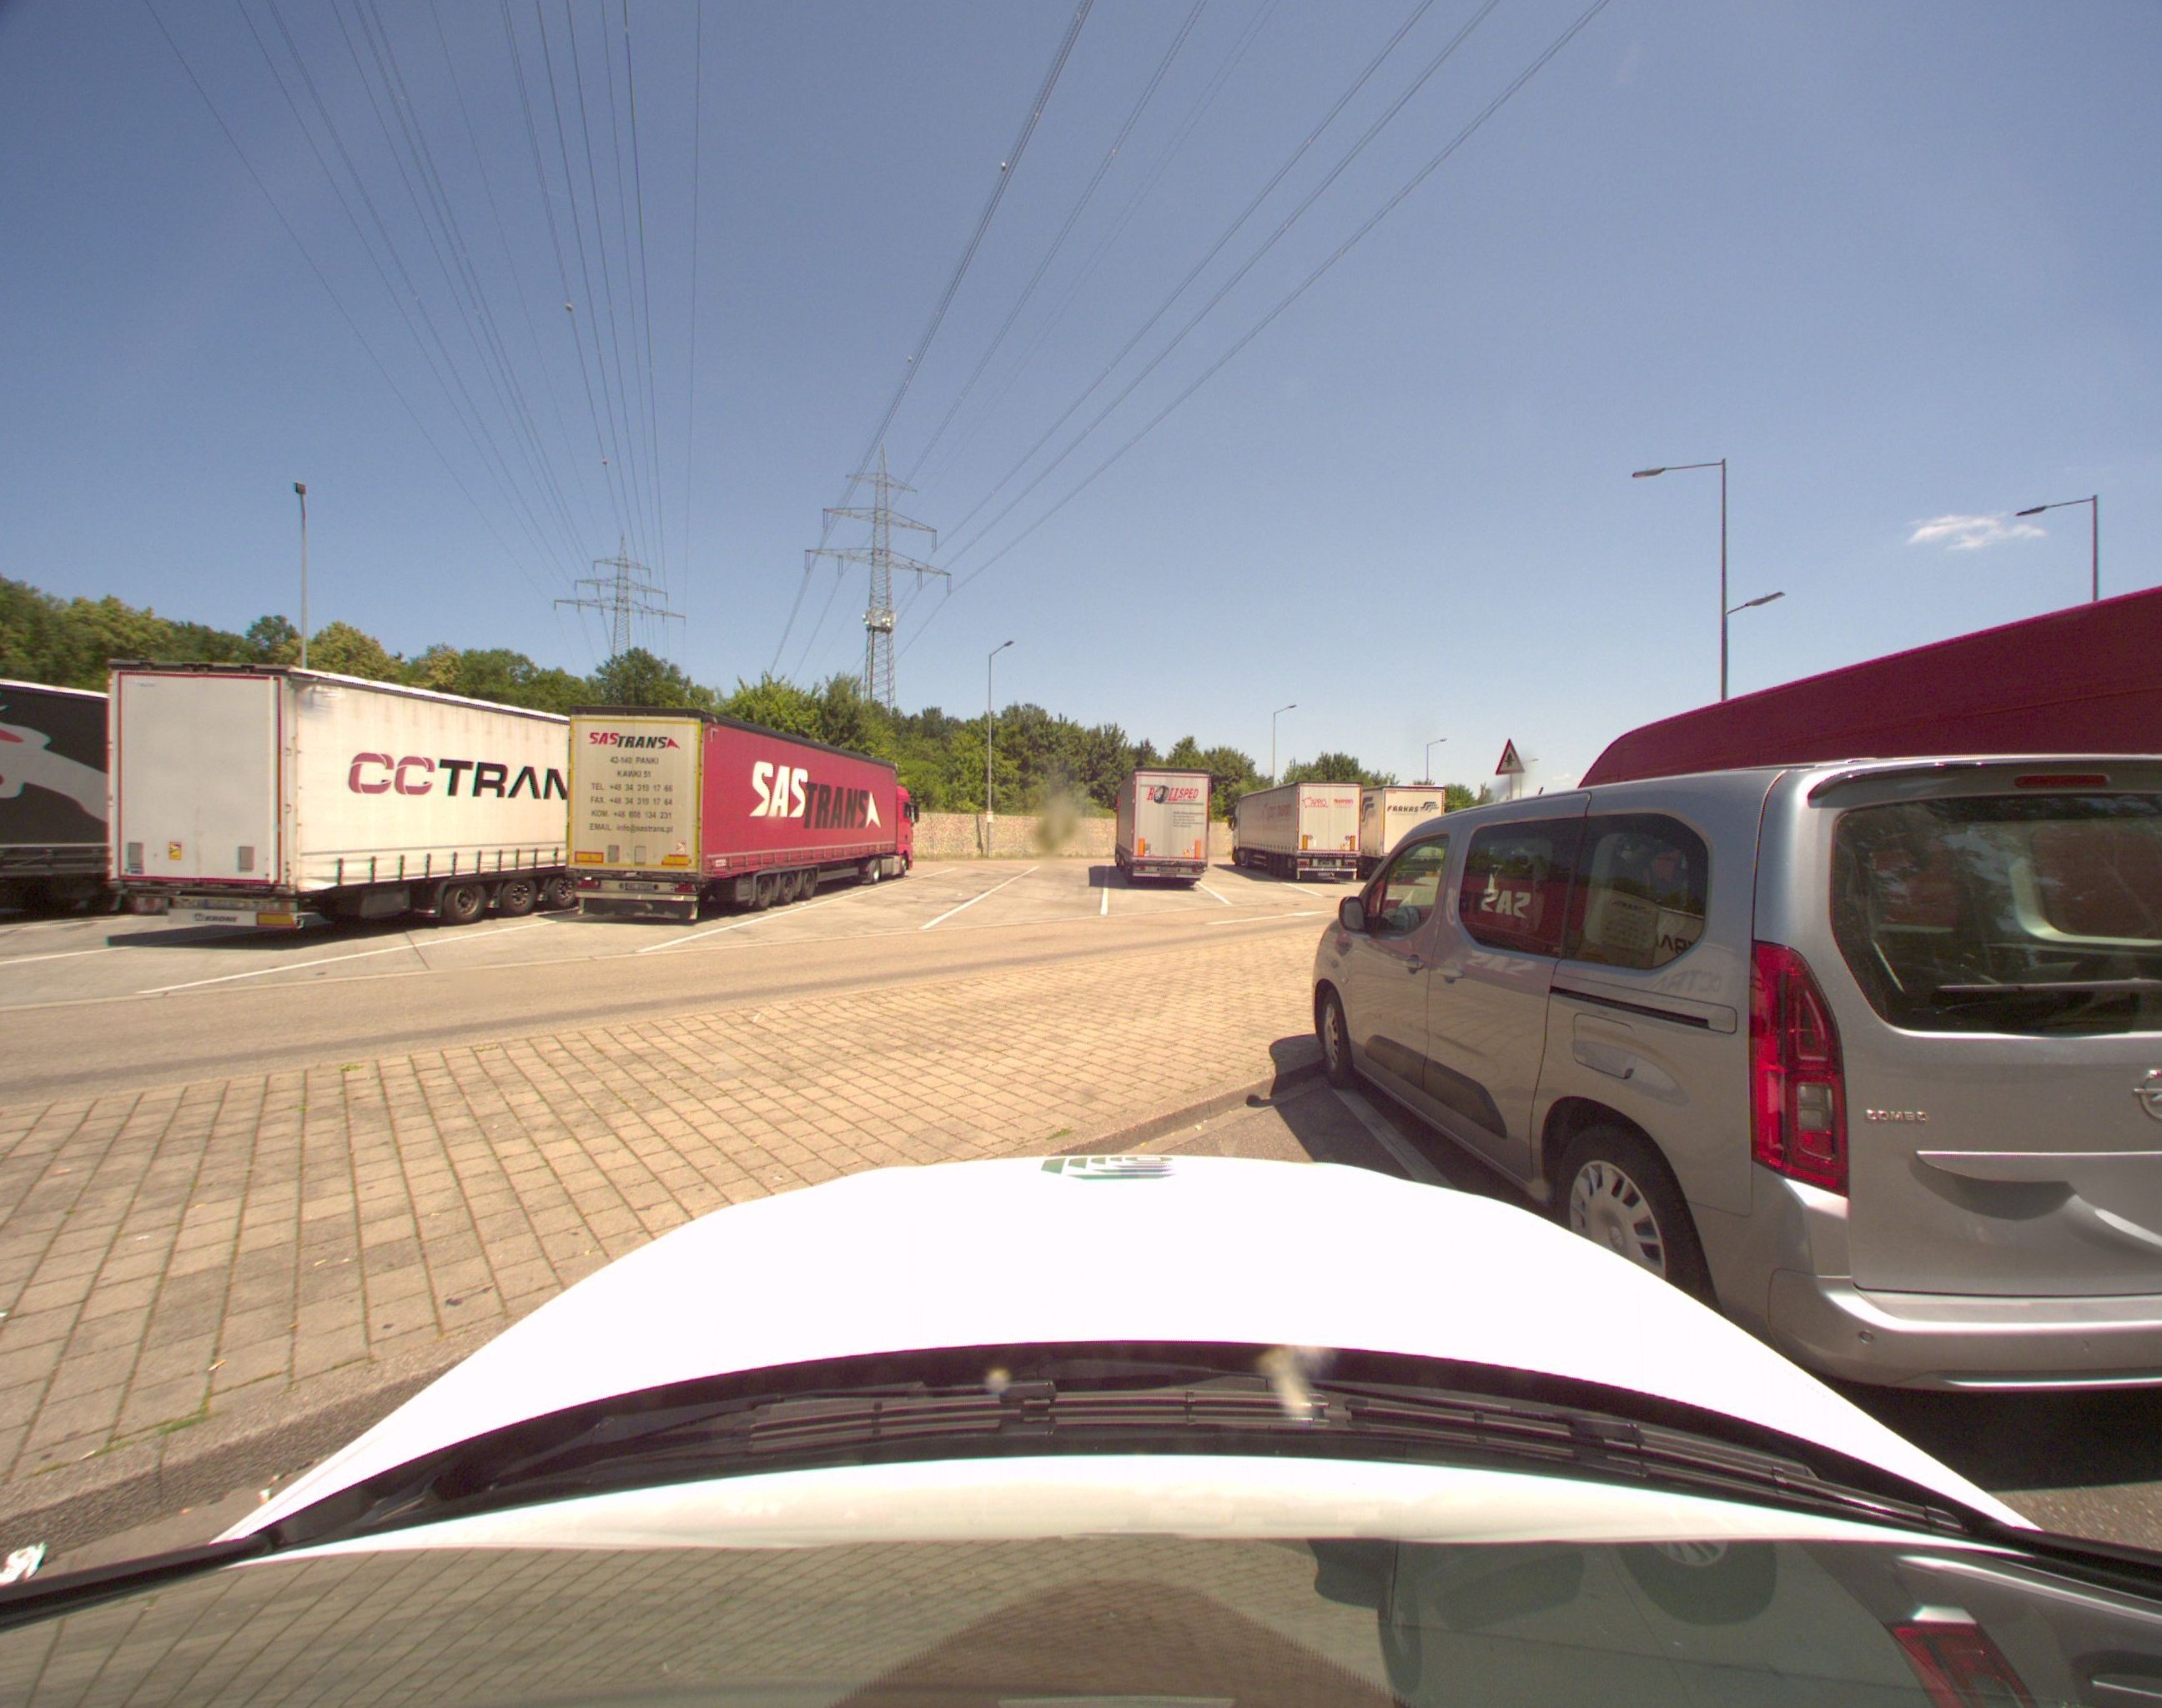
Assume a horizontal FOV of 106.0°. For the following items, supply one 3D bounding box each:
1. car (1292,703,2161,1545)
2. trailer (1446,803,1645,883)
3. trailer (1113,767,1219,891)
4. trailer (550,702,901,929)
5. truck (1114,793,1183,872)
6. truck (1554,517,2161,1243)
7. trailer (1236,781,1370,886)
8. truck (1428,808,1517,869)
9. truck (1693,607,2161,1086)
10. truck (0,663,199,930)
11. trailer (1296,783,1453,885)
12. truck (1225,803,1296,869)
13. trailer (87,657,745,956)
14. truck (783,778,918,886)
[{"bbox_3d":[2.487,0.570,3.899,1.864,1.863,4.176,1,1,0],"label":"car"},{"bbox_3d":[24.092,-0.748,43.772,2.801,3.507,14.403,1,2,2],"label":"trailer"},{"bbox_3d":[3.057,-1.071,33.711,3.122,3.989,14.401,1,2,1],"label":"trailer"},{"bbox_3d":[-8.069,-0.949,21.920,2.781,4.084,14.139,1,2,2],"label":"trailer"},{"bbox_3d":[3.222,-1.087,40.605,3.092,3.566,5.903,1,2,2],"label":"truck"},{"bbox_3d":[5.133,0.114,4.923,1.968,2.622,5.314,0,-1,7],"label":"truck"},{"bbox_3d":[9.922,-1.054,38.661,2.801,3.989,14.403,1,2,2],"label":"trailer"},{"bbox_3d":[24.348,-1.020,51.003,2.792,3.521,5.903,1,2,2],"label":"truck"},{"bbox_3d":[7.988,-0.043,6.471,2.444,2.912,5.663,-1,-1,7],"label":"truck"},{"bbox_3d":[-18.544,-0.967,13.797,2.726,4.239,3.997,1,2,2],"label":"truck"},{"bbox_3d":[13.595,-1.046,39.624,2.801,3.989,14.403,1,2,2],"label":"trailer"},{"bbox_3d":[10.184,-1.084,46.762,2.852,3.521,5.903,1,2,2],"label":"truck"},{"bbox_3d":[-12.132,-0.911,18.350,2.785,4.084,14.139,1,2,2],"label":"trailer"},{"bbox_3d":[-7.821,-0.787,28.490,2.840,3.327,5.903,1,2,2],"label":"truck"}]
